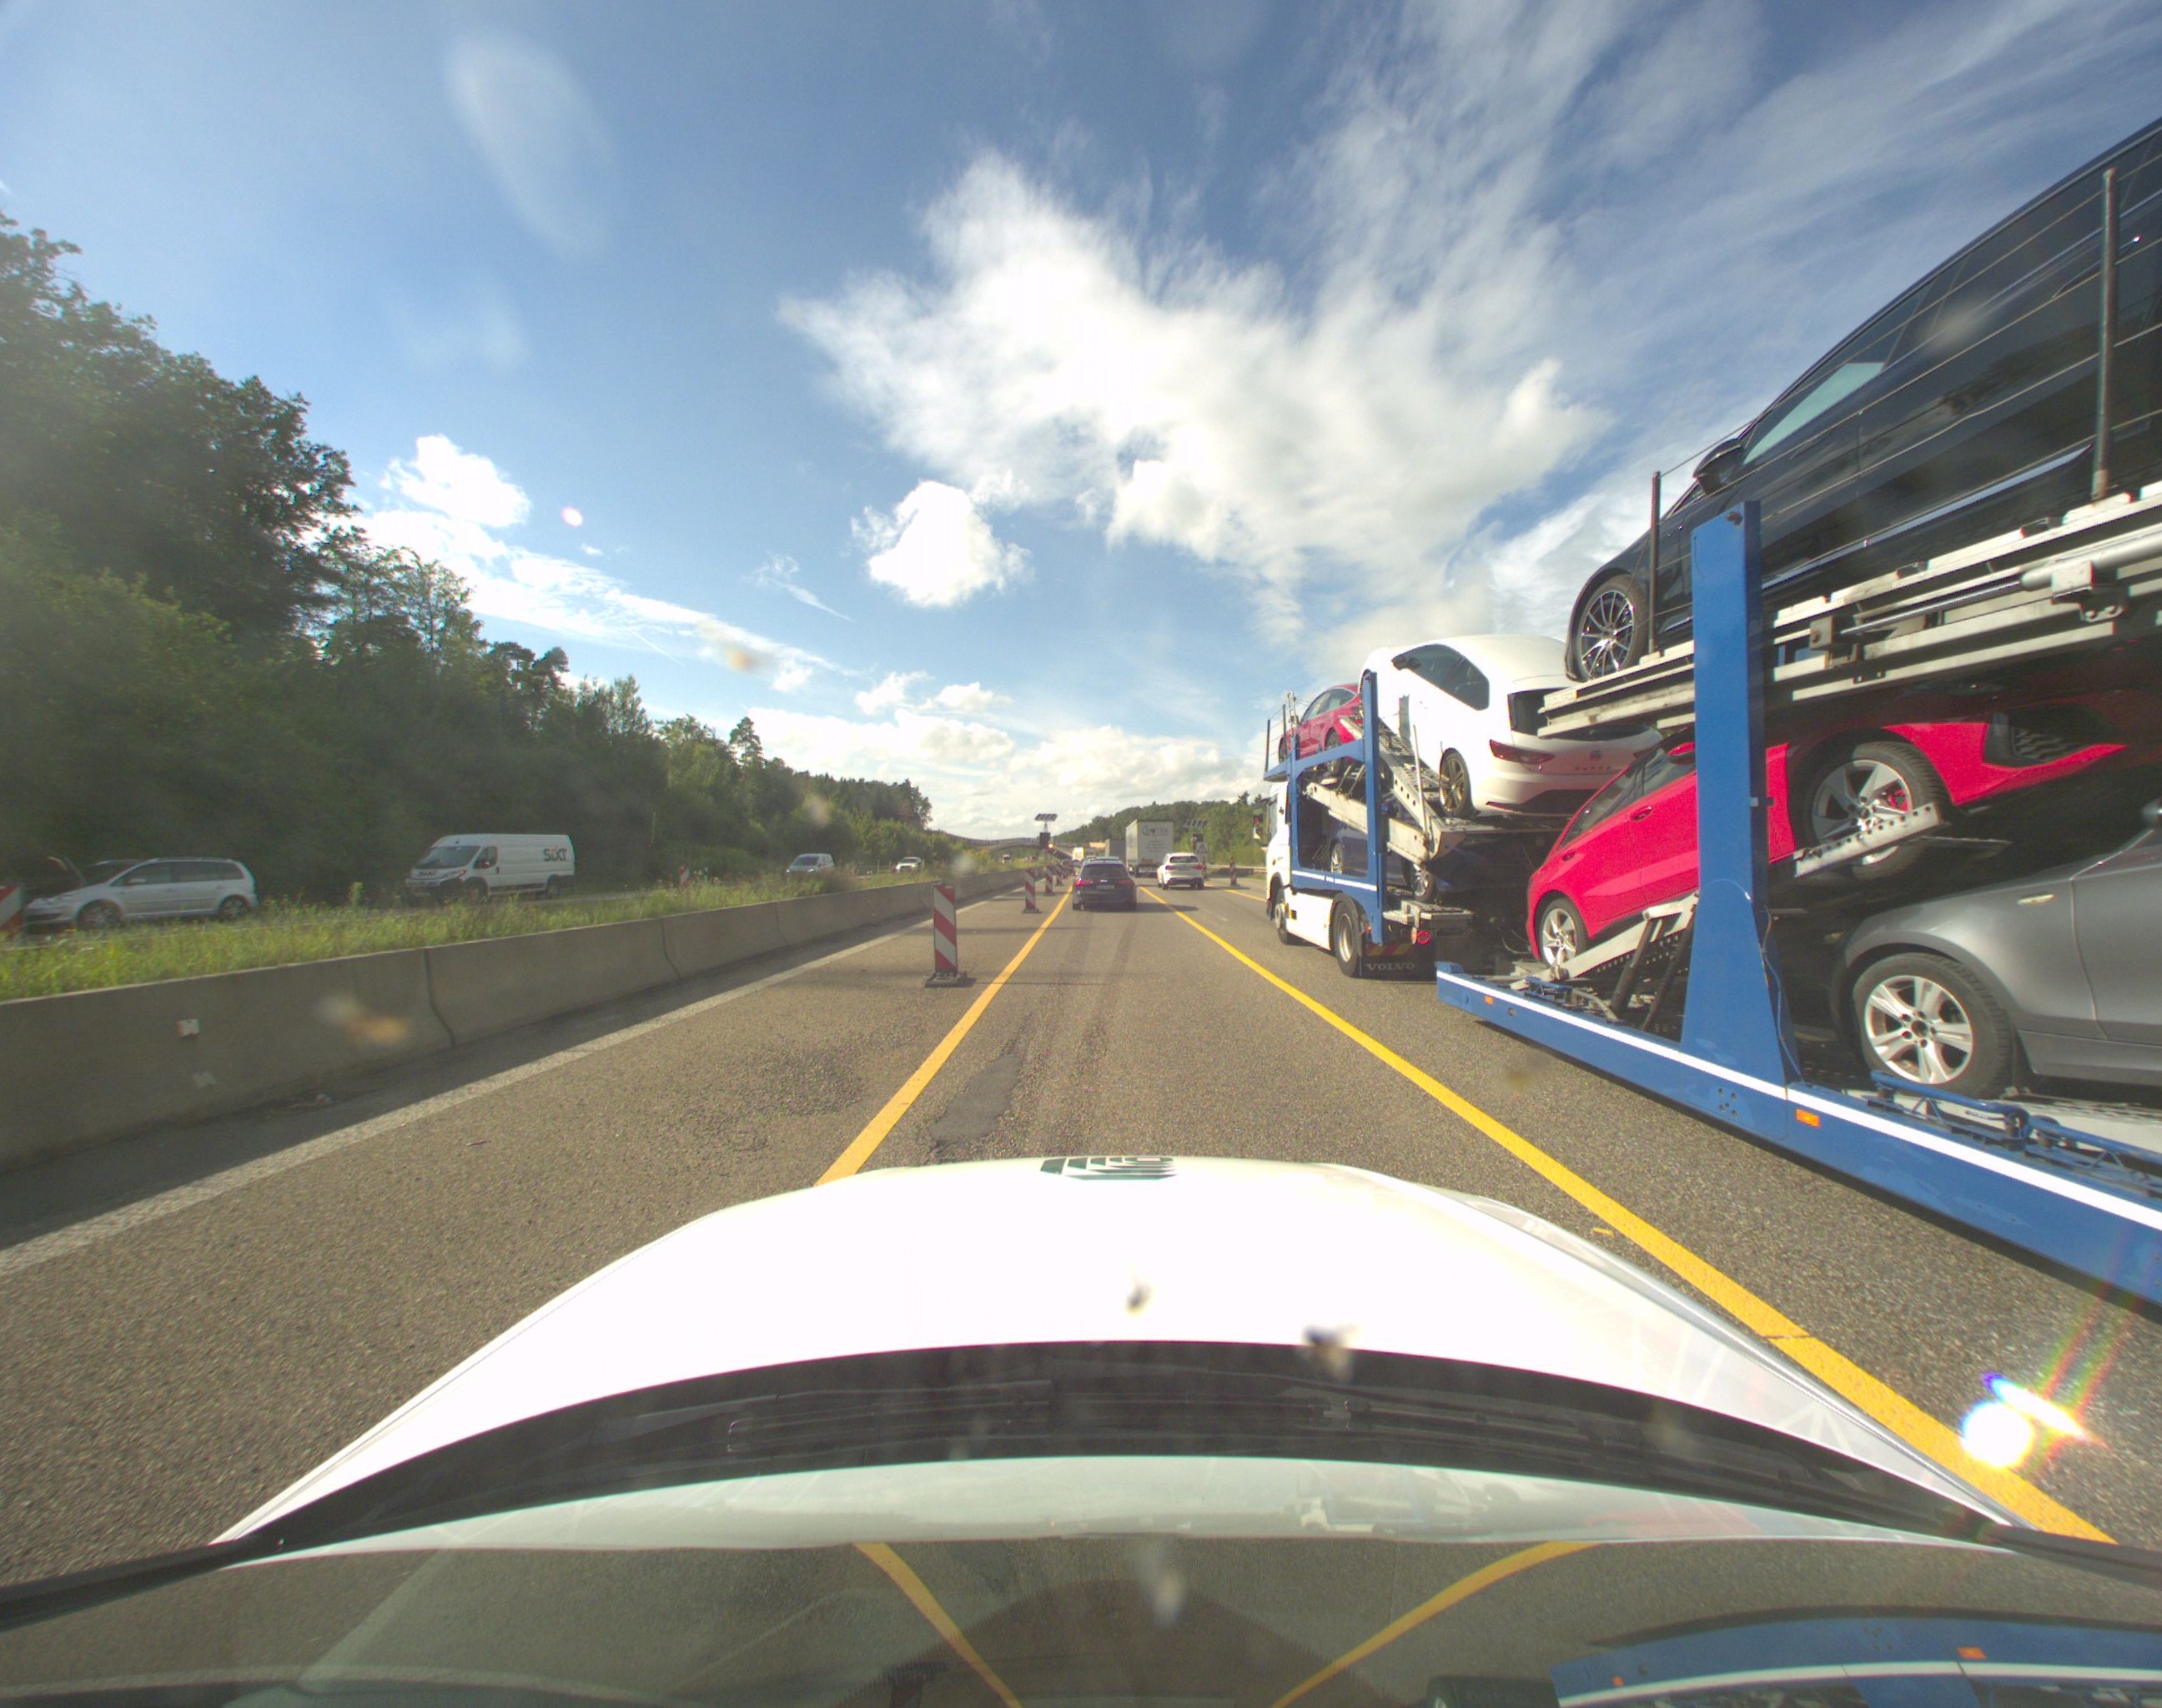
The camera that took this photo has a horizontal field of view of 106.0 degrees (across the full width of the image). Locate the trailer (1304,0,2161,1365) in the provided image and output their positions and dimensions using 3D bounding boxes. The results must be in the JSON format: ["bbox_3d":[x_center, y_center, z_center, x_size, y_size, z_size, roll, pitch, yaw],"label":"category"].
[{"bbox_3d":[4.787,-0.719,3.197,3.713,4.196,16.230,0,-1,1],"label":"trailer"}]

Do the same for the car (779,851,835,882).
[{"bbox_3d":[-16.402,0.751,48.896,1.771,1.786,4.366,0,-1,2],"label":"car"}]

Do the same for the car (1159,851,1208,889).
[{"bbox_3d":[4.690,0.735,37.883,1.883,1.643,4.019,0,-1,2],"label":"car"}]

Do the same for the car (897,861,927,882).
[{"bbox_3d":[-15.506,1.585,74.853,1.771,1.786,4.366,0,-1,2],"label":"car"}]

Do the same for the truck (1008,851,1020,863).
[{"bbox_3d":[-19.487,0.906,237.073,2.774,3.490,4.941,0,-1,2],"label":"truck"}]

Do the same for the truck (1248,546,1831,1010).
[{"bbox_3d":[4.966,-0.655,11.363,3.748,4.196,7.952,0,-1,1],"label":"truck"}]

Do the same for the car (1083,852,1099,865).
[{"bbox_3d":[1.247,0.633,104.022,1.885,1.643,4.014,0,-1,-2],"label":"car"}]

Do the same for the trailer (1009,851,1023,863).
[{"bbox_3d":[-19.341,0.959,243.190,2.792,3.490,11.115,0,-1,1],"label":"trailer"}]

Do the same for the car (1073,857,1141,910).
[{"bbox_3d":[0.777,0.835,24.501,1.883,1.446,4.001,0,-1,2],"label":"car"}]

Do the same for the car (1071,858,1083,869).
[{"bbox_3d":[-0.773,1.754,151.912,1.991,2.014,3.991,0,-1,-6],"label":"car"}]

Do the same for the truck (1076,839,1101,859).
[{"bbox_3d":[1.459,-0.881,167.626,3.652,3.928,11.034,0,-1,-8],"label":"truck"}]

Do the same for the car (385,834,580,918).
[{"bbox_3d":[-21.190,0.729,29.351,2.020,2.684,6.525,0,-1,2],"label":"car"}]

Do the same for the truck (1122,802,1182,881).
[{"bbox_3d":[5.240,-0.794,63.576,3.664,5.353,16.204,0,-1,1],"label":"truck"}]

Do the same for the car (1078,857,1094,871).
[{"bbox_3d":[0.733,1.494,121.219,1.989,2.014,3.994,0,-1,-4],"label":"car"}]

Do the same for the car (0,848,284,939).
[{"bbox_3d":[-22.073,0.838,19.145,1.853,1.853,4.763,0,-1,2],"label":"car"}]

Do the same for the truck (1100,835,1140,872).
[{"bbox_3d":[5.070,-0.001,109.204,4.309,4.600,11.113,0,-1,-3],"label":"truck"}]
